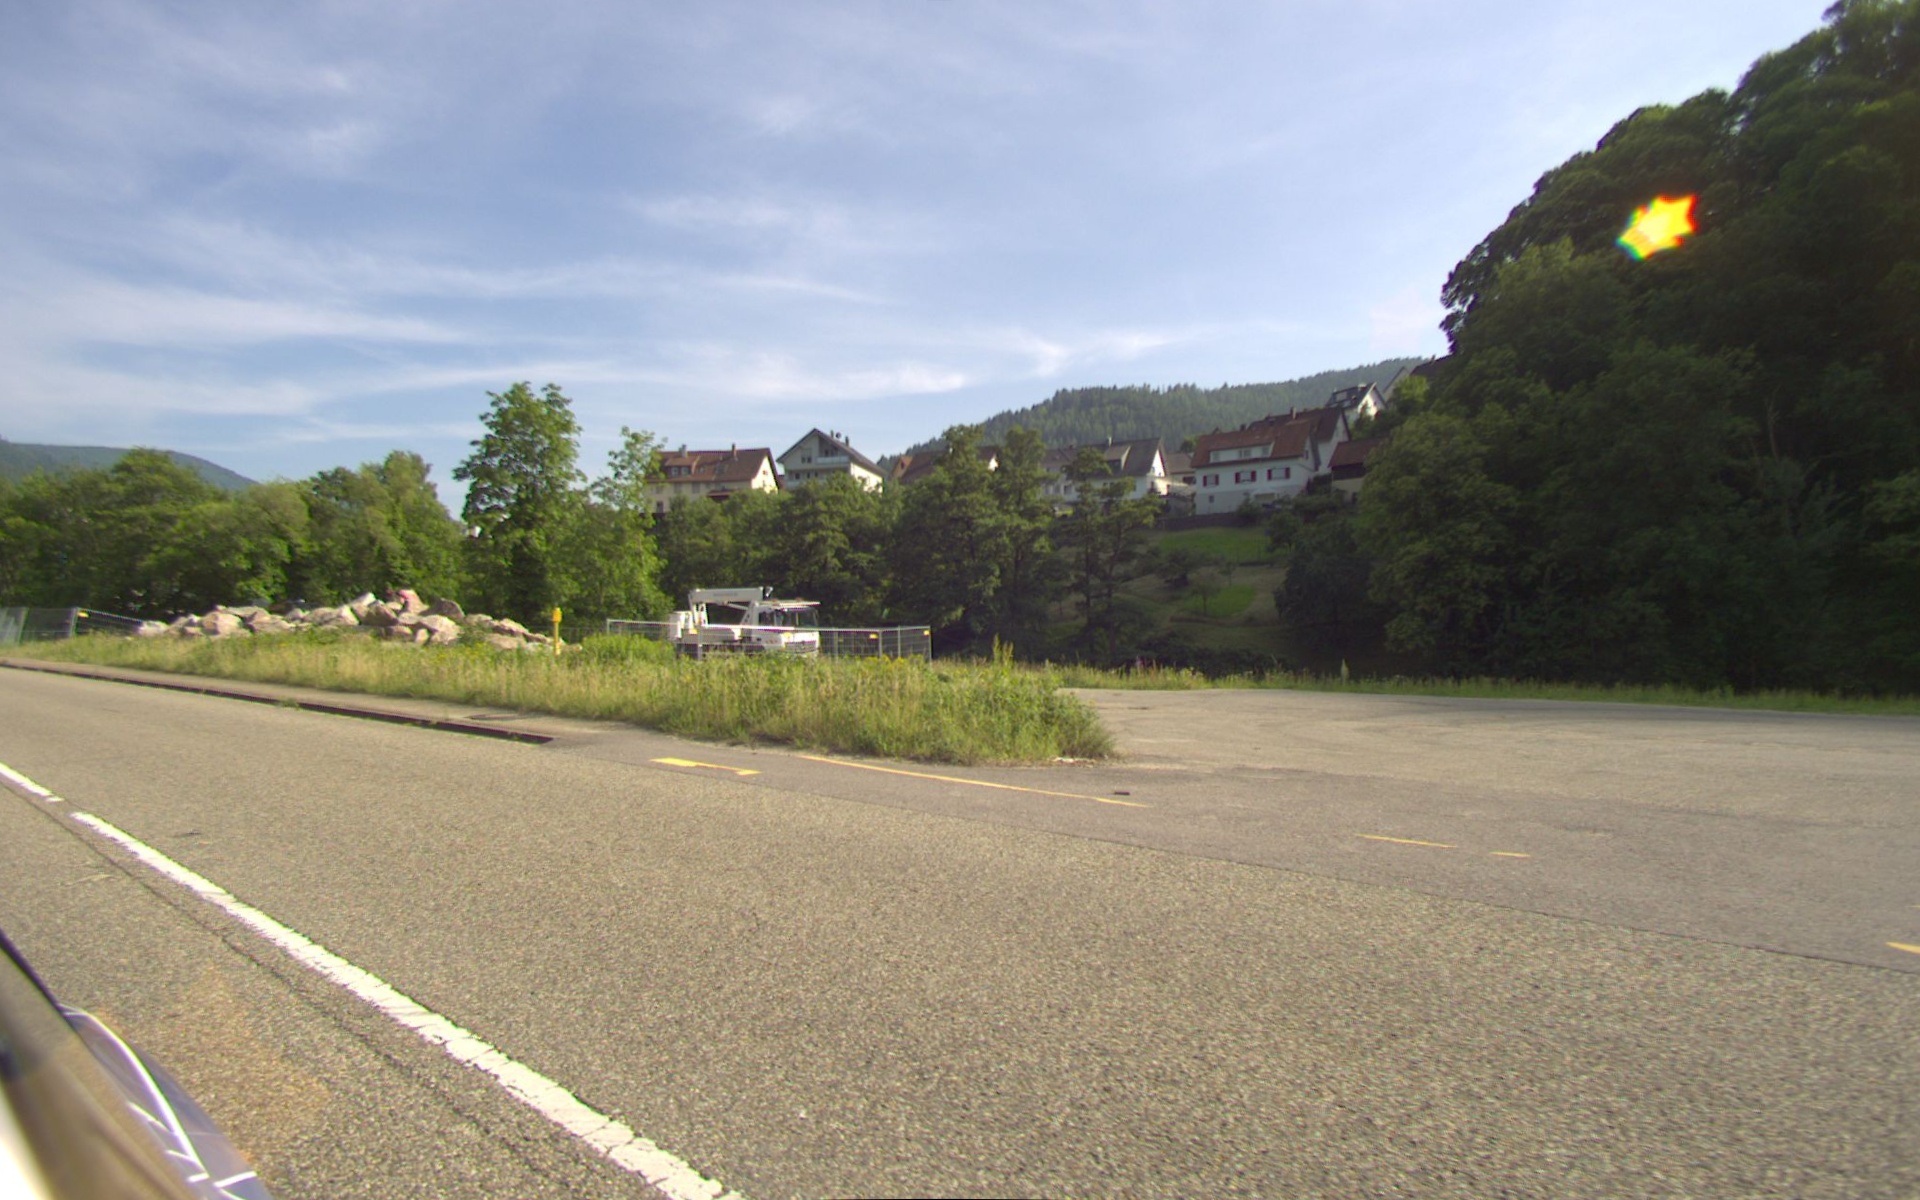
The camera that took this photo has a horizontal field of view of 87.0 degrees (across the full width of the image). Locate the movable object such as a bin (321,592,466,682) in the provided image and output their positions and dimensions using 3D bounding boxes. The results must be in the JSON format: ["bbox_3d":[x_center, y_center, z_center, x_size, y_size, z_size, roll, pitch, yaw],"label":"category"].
[{"bbox_3d":[-26.884,1.771,47.918,7.205,3.978,2.701,-1,-4,32],"label":"movable object such as a bin"}]

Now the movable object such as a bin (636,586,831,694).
[{"bbox_3d":[-9.156,1.611,40.610,7.782,3.978,2.876,-1,-4,32],"label":"movable object such as a bin"}]

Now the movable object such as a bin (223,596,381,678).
[{"bbox_3d":[-34.189,1.931,52.430,9.954,3.978,2.679,-1,-4,32],"label":"movable object such as a bin"}]
